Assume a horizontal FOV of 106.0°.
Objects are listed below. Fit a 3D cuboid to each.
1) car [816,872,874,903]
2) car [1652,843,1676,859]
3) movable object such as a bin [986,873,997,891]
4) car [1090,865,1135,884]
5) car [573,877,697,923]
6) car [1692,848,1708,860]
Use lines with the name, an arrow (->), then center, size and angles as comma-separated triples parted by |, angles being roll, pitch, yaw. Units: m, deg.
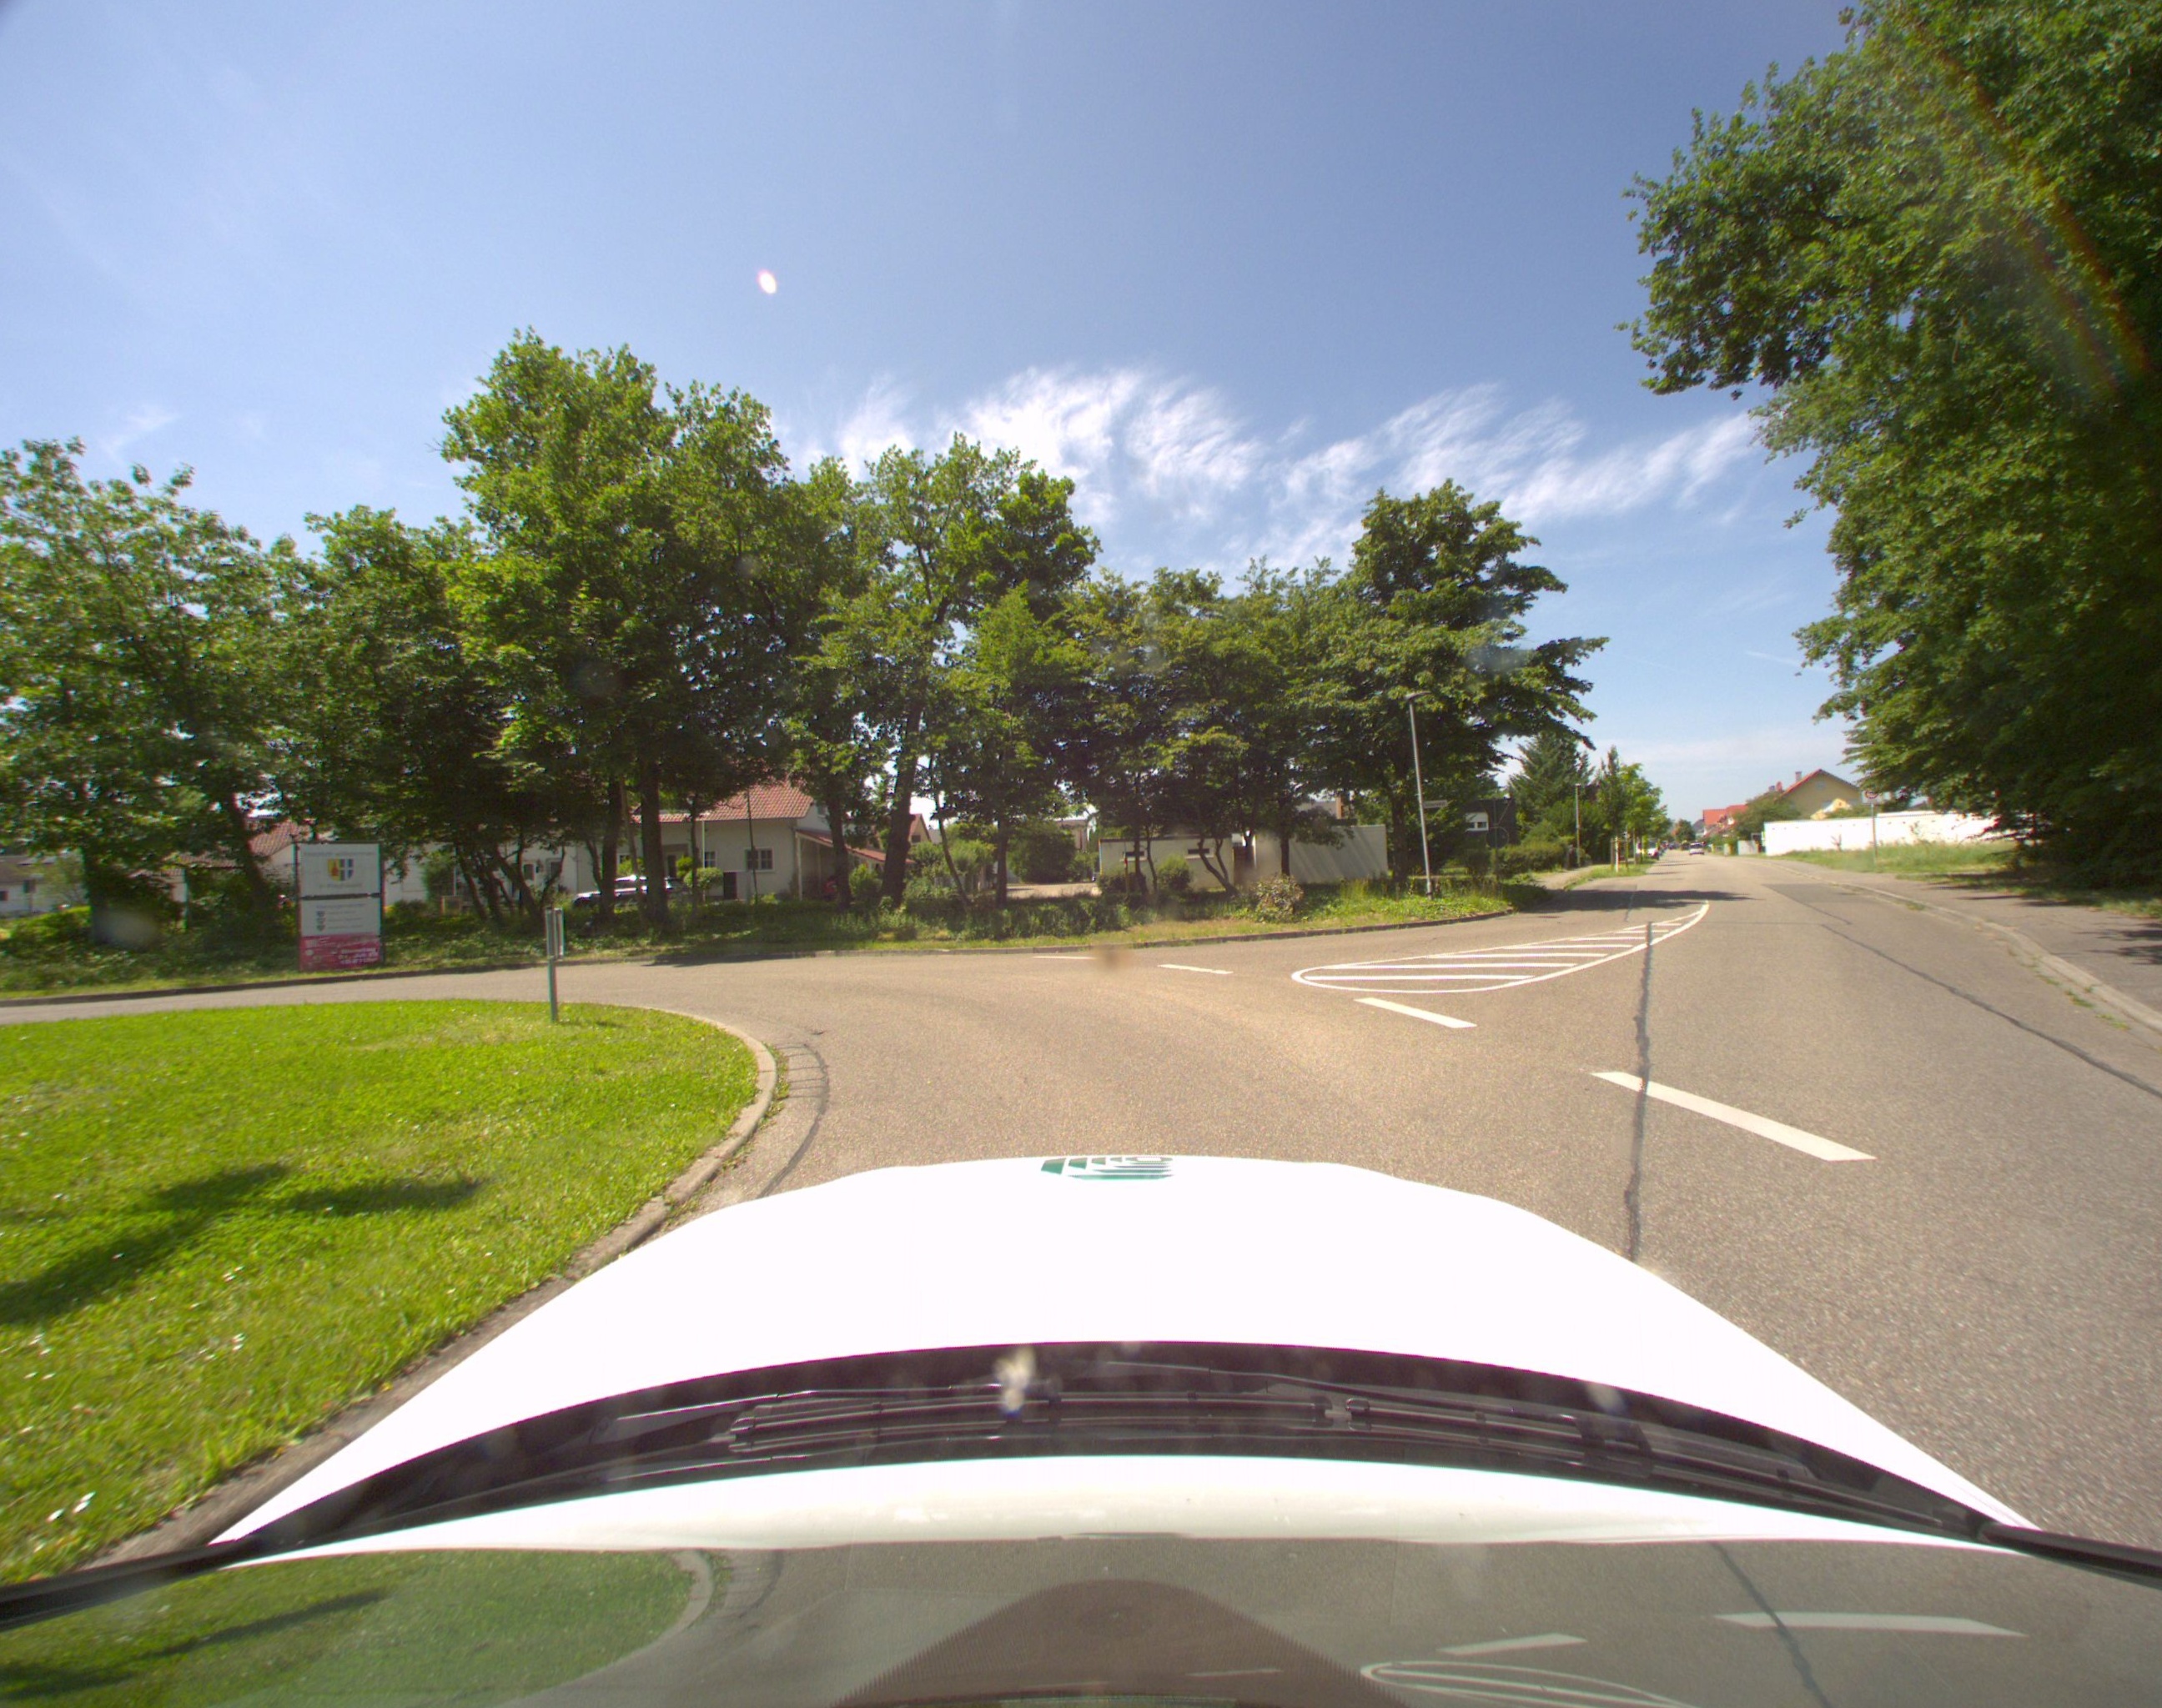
car -> -11.934, 1.670, 41.388 | 1.672, 1.385, 3.695 | -2, -1, 2
car -> 62.706, -0.289, 87.623 | 1.736, 1.480, 3.819 | -3, -3, 30
movable object such as a bin -> -5.936, 1.866, 54.234 | 0.655, 1.112, 0.457 | -2, -1, -2
car -> 2.341, 1.527, 61.655 | 3.260, 1.253, 1.572 | -2, -1, -2
car -> -18.428, 1.893, 33.779 | 4.119, 1.705, 1.664 | -2, -1, -2
car -> 94.152, -0.015, 123.921 | 1.818, 1.661, 4.025 | -4, -3, 36
